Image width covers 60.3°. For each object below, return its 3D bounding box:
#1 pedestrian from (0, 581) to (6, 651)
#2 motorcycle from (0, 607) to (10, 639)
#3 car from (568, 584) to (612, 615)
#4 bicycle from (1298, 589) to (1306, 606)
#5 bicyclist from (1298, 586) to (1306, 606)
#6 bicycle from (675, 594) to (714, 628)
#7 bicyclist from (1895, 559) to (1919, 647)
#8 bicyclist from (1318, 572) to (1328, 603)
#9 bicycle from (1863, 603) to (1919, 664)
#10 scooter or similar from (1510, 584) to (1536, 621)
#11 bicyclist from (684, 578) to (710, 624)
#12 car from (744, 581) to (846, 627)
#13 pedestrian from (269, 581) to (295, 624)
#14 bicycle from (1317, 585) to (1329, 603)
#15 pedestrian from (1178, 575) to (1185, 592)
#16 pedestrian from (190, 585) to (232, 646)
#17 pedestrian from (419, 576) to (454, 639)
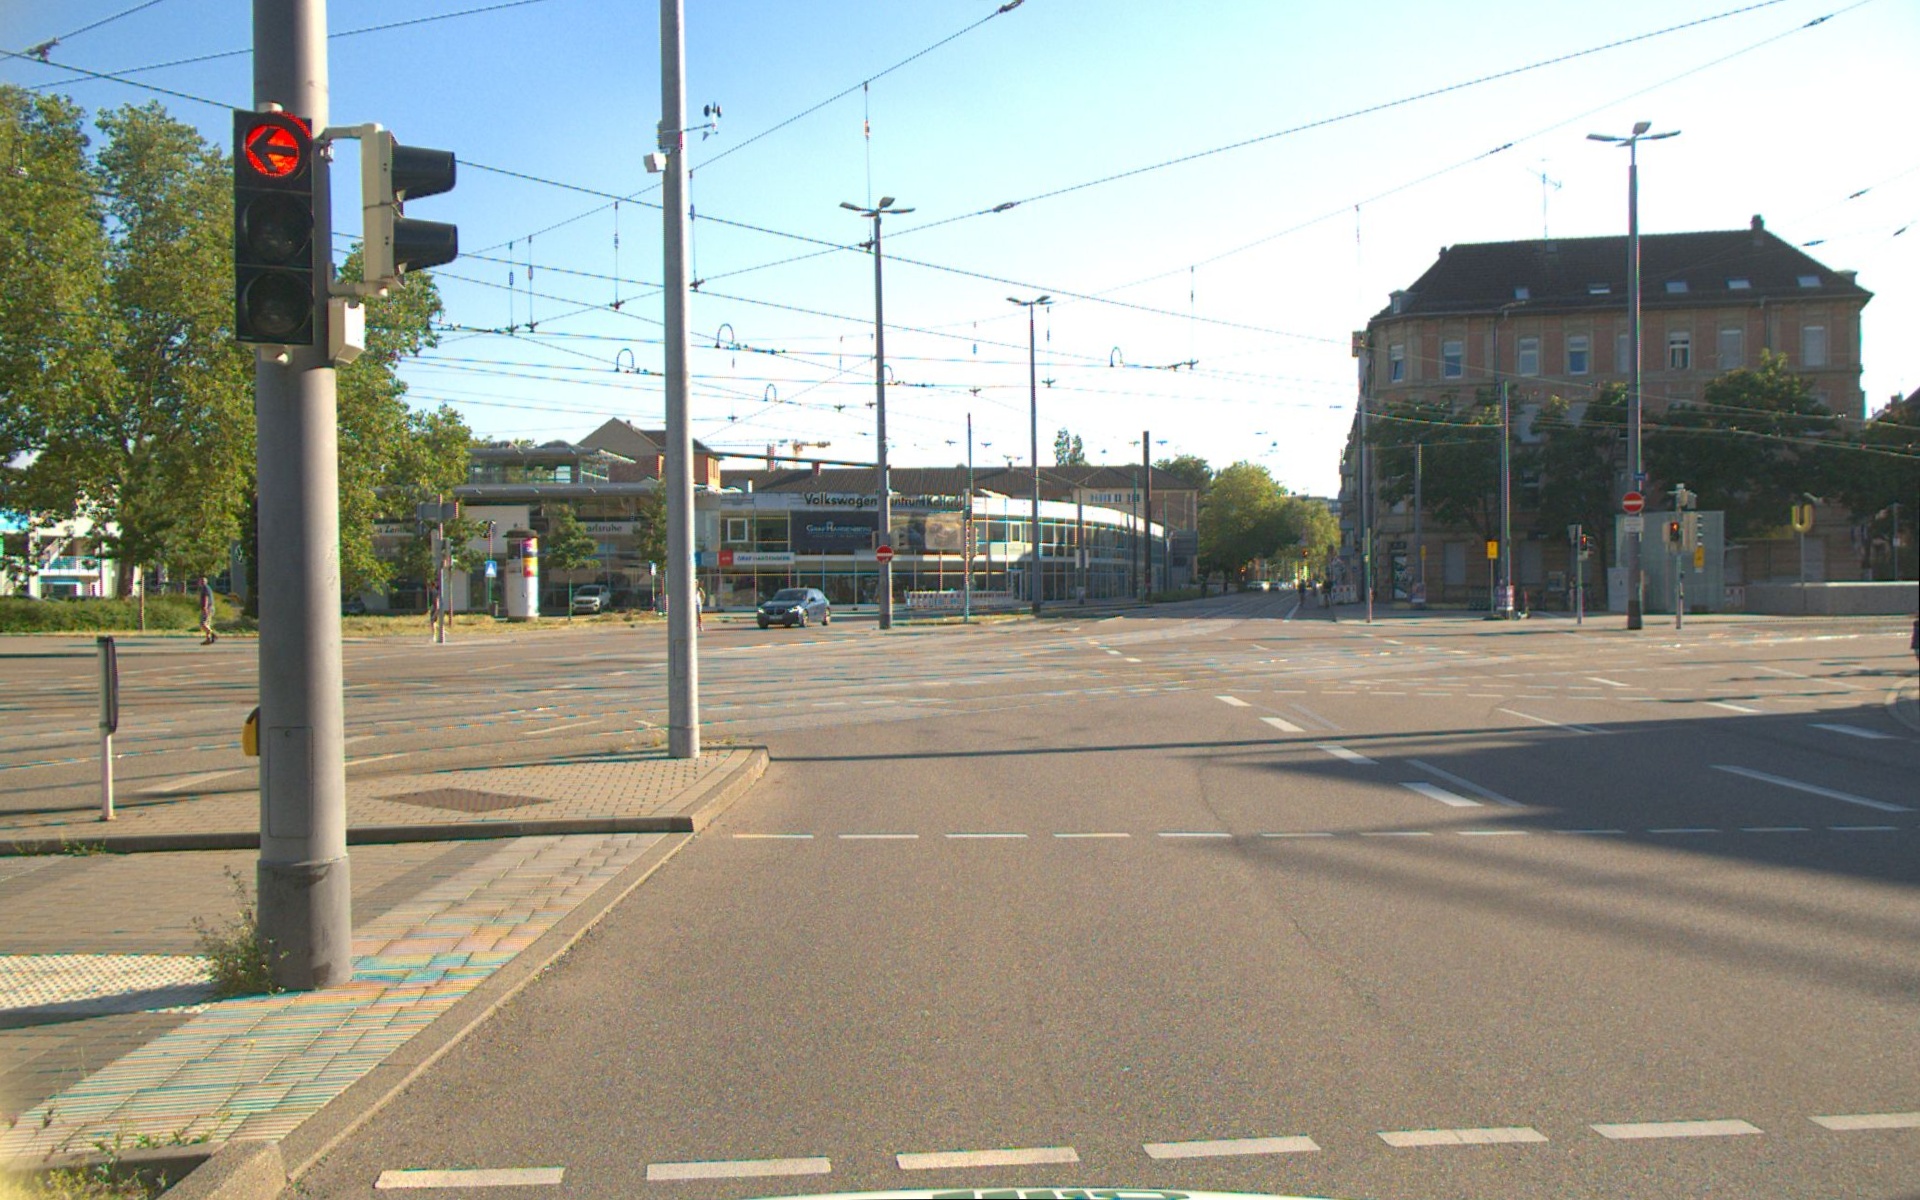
[{"bbox_3d":[-24.239,0.394,40.912,0.777,1.736,0.759,1,-1,6],"label":"pedestrian"},{"bbox_3d":[-28.923,0.675,48.503,1.748,0.930,0.675,1,0,-21],"label":"motorcycle"},{"bbox_3d":[-22.122,-0.030,98.967,1.954,1.780,3.997,1,0,-4],"label":"car"},{"bbox_3d":[19.330,-0.122,93.508,0.401,0.958,1.847,1,0,12],"label":"bicycle"},{"bbox_3d":[19.348,-0.223,93.583,0.399,1.136,0.399,1,-1,11],"label":"bicyclist"},{"bbox_3d":[-9.545,0.399,59.476,0.599,1.210,1.870,1,0,17],"label":"bicycle"},{"bbox_3d":[17.587,0.059,30.100,0.505,1.584,0.945,1,0,-9],"label":"bicyclist"},{"bbox_3d":[20.560,-0.727,93.779,0.507,1.730,0.516,1,-1,14],"label":"bicyclist"},{"bbox_3d":[17.558,0.618,30.221,0.524,1.067,2.316,1,1,-9],"label":"bicycle"},{"bbox_3d":[21.596,0.100,63.493,0.769,1.400,1.910,1,0,13],"label":"scooter or similar"},{"bbox_3d":[-9.490,0.049,59.645,0.585,1.644,0.823,1,-1,17],"label":"bicyclist"},{"bbox_3d":[-6.085,0.168,61.539,1.954,1.613,3.996,1,0,26],"label":"car"},{"bbox_3d":[-27.654,0.092,67.465,0.839,1.723,0.496,1,-1,-3],"label":"pedestrian"},{"bbox_3d":[20.557,-0.345,93.670,0.643,0.969,1.601,1,0,14],"label":"bicycle"},{"bbox_3d":[26.868,-1.959,200.514,0.702,2.049,0.758,1,-1,1],"label":"pedestrian"},{"bbox_3d":[-21.578,0.436,47.643,0.777,1.736,0.759,1,-1,6],"label":"pedestrian"},{"bbox_3d":[-16.318,0.236,51.580,0.777,1.919,0.759,1,-1,6],"label":"pedestrian"}]
